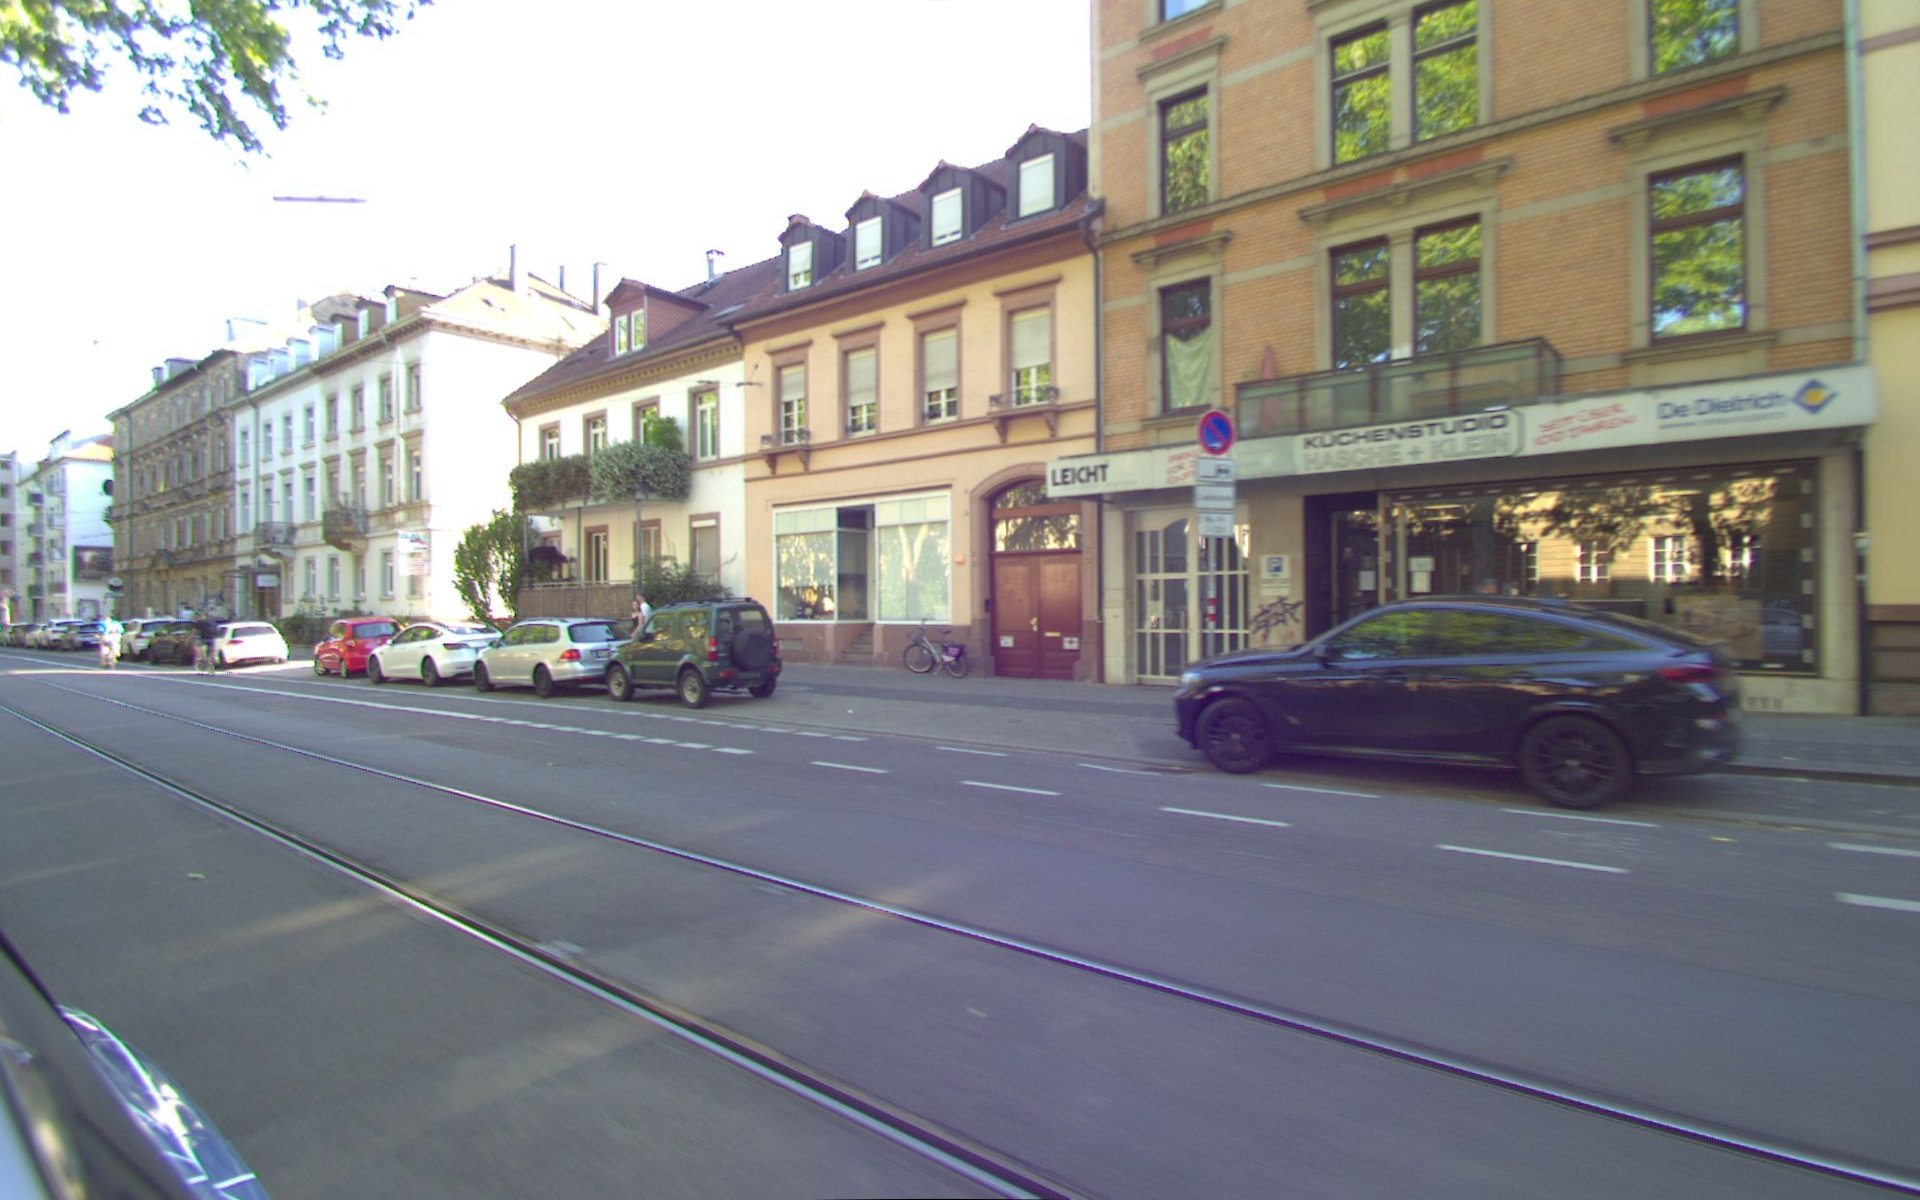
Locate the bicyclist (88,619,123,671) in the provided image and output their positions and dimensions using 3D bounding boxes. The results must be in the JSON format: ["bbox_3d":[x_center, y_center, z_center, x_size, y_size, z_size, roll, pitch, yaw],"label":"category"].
[{"bbox_3d":[-26.104,1.360,30.923,0.953,1.529,0.705,-2,-2,42],"label":"bicyclist"}]

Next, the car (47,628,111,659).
[{"bbox_3d":[-43.668,2.138,50.121,4.080,1.386,1.775,-2,1,40],"label":"car"}]

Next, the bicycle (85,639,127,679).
[{"bbox_3d":[-26.070,1.778,30.890,2.120,1.146,0.705,-2,-1,42],"label":"bicycle"}]

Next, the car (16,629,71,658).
[{"bbox_3d":[-52.007,2.459,57.430,4.080,1.493,1.775,-2,1,40],"label":"car"}]

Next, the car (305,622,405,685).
[{"bbox_3d":[-16.254,1.386,27.128,3.326,1.522,1.403,-1,1,43],"label":"car"}]

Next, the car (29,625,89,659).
[{"bbox_3d":[-47.703,2.175,53.557,4.080,1.639,1.775,-2,1,40],"label":"car"}]

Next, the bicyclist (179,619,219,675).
[{"bbox_3d":[-21.308,1.296,28.345,0.953,1.529,0.705,-2,-2,41],"label":"bicyclist"}]

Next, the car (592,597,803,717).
[{"bbox_3d":[-4.564,0.907,17.384,3.624,1.759,1.707,-1,2,41],"label":"car"}]

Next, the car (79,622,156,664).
[{"bbox_3d":[-36.952,1.847,44.349,4.572,1.652,1.775,-2,1,40],"label":"car"}]

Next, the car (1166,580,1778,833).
[{"bbox_3d":[4.556,0.791,9.449,4.746,1.715,1.974,-2,2,40],"label":"car"}]

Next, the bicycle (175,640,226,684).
[{"bbox_3d":[-21.246,1.715,28.295,2.119,1.146,0.705,-1,-1,41],"label":"bicycle"}]

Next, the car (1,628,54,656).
[{"bbox_3d":[-55.857,2.505,60.612,3.915,1.555,1.786,-2,1,40],"label":"car"}]

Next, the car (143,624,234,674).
[{"bbox_3d":[-28.157,1.743,36.874,4.080,1.608,1.775,-2,1,40],"label":"car"}]

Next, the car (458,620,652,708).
[{"bbox_3d":[-8.087,1.194,20.017,4.400,1.465,1.647,-2,1,40],"label":"car"}]

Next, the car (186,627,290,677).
[{"bbox_3d":[-24.089,1.687,33.727,4.080,1.442,1.845,-2,1,40],"label":"car"}]

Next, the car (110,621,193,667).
[{"bbox_3d":[-32.225,1.736,40.293,4.251,1.652,1.775,-2,1,40],"label":"car"}]

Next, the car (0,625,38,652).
[{"bbox_3d":[-59.912,2.400,64.020,3.915,1.555,1.786,-2,1,40],"label":"car"}]

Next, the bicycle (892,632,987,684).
[{"bbox_3d":[-0.439,1.149,20.453,2.119,0.976,0.498,-1,-1,41],"label":"bicycle"}]

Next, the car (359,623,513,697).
[{"bbox_3d":[-12.236,1.333,23.507,4.466,1.502,1.567,-2,1,40],"label":"car"}]
